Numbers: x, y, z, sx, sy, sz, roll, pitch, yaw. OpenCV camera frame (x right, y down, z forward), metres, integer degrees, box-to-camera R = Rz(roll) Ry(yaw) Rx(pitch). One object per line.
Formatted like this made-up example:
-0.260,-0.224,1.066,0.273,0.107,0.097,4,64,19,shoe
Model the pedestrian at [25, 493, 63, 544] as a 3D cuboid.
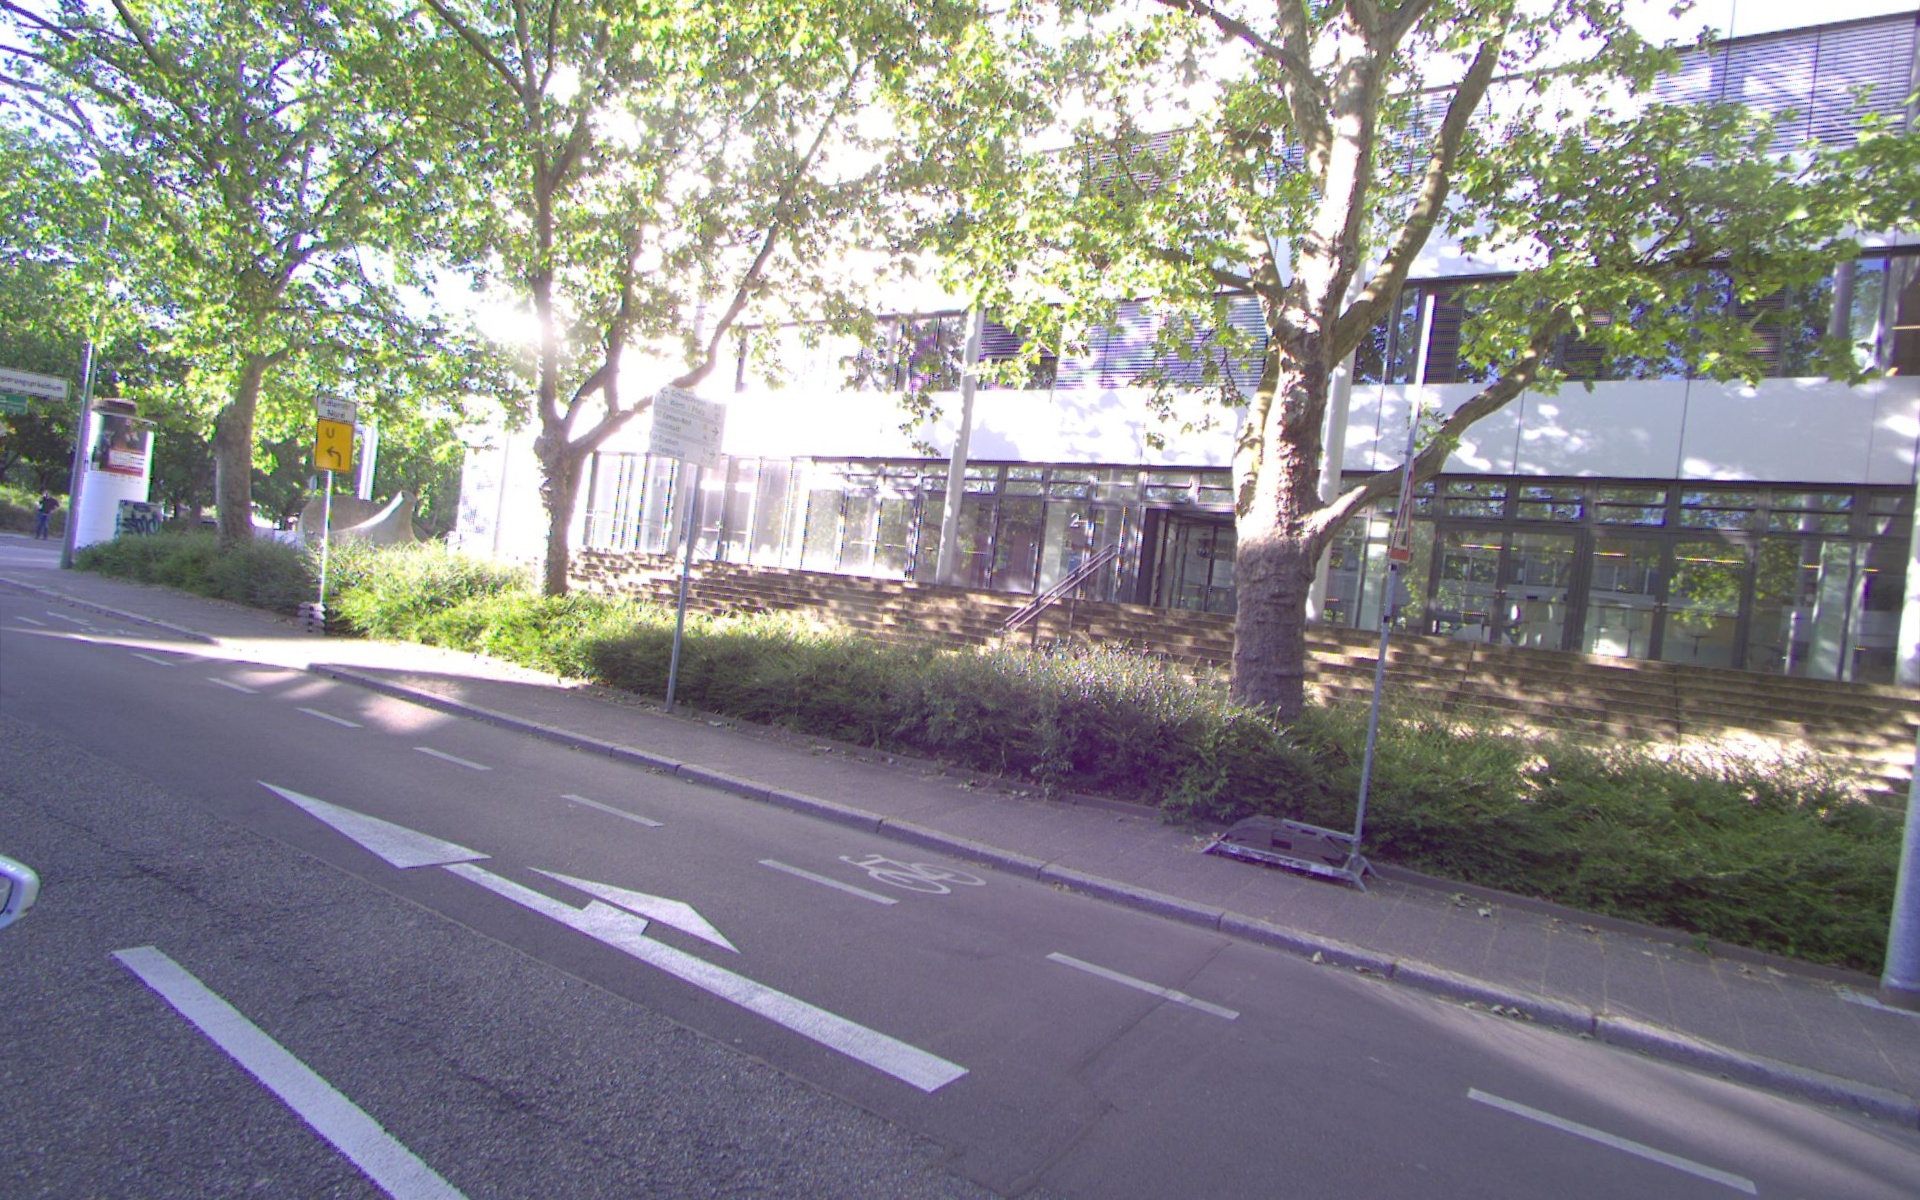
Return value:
-34.934,-3.092,38.370,0.730,1.799,0.724,8,-1,-28,pedestrian
